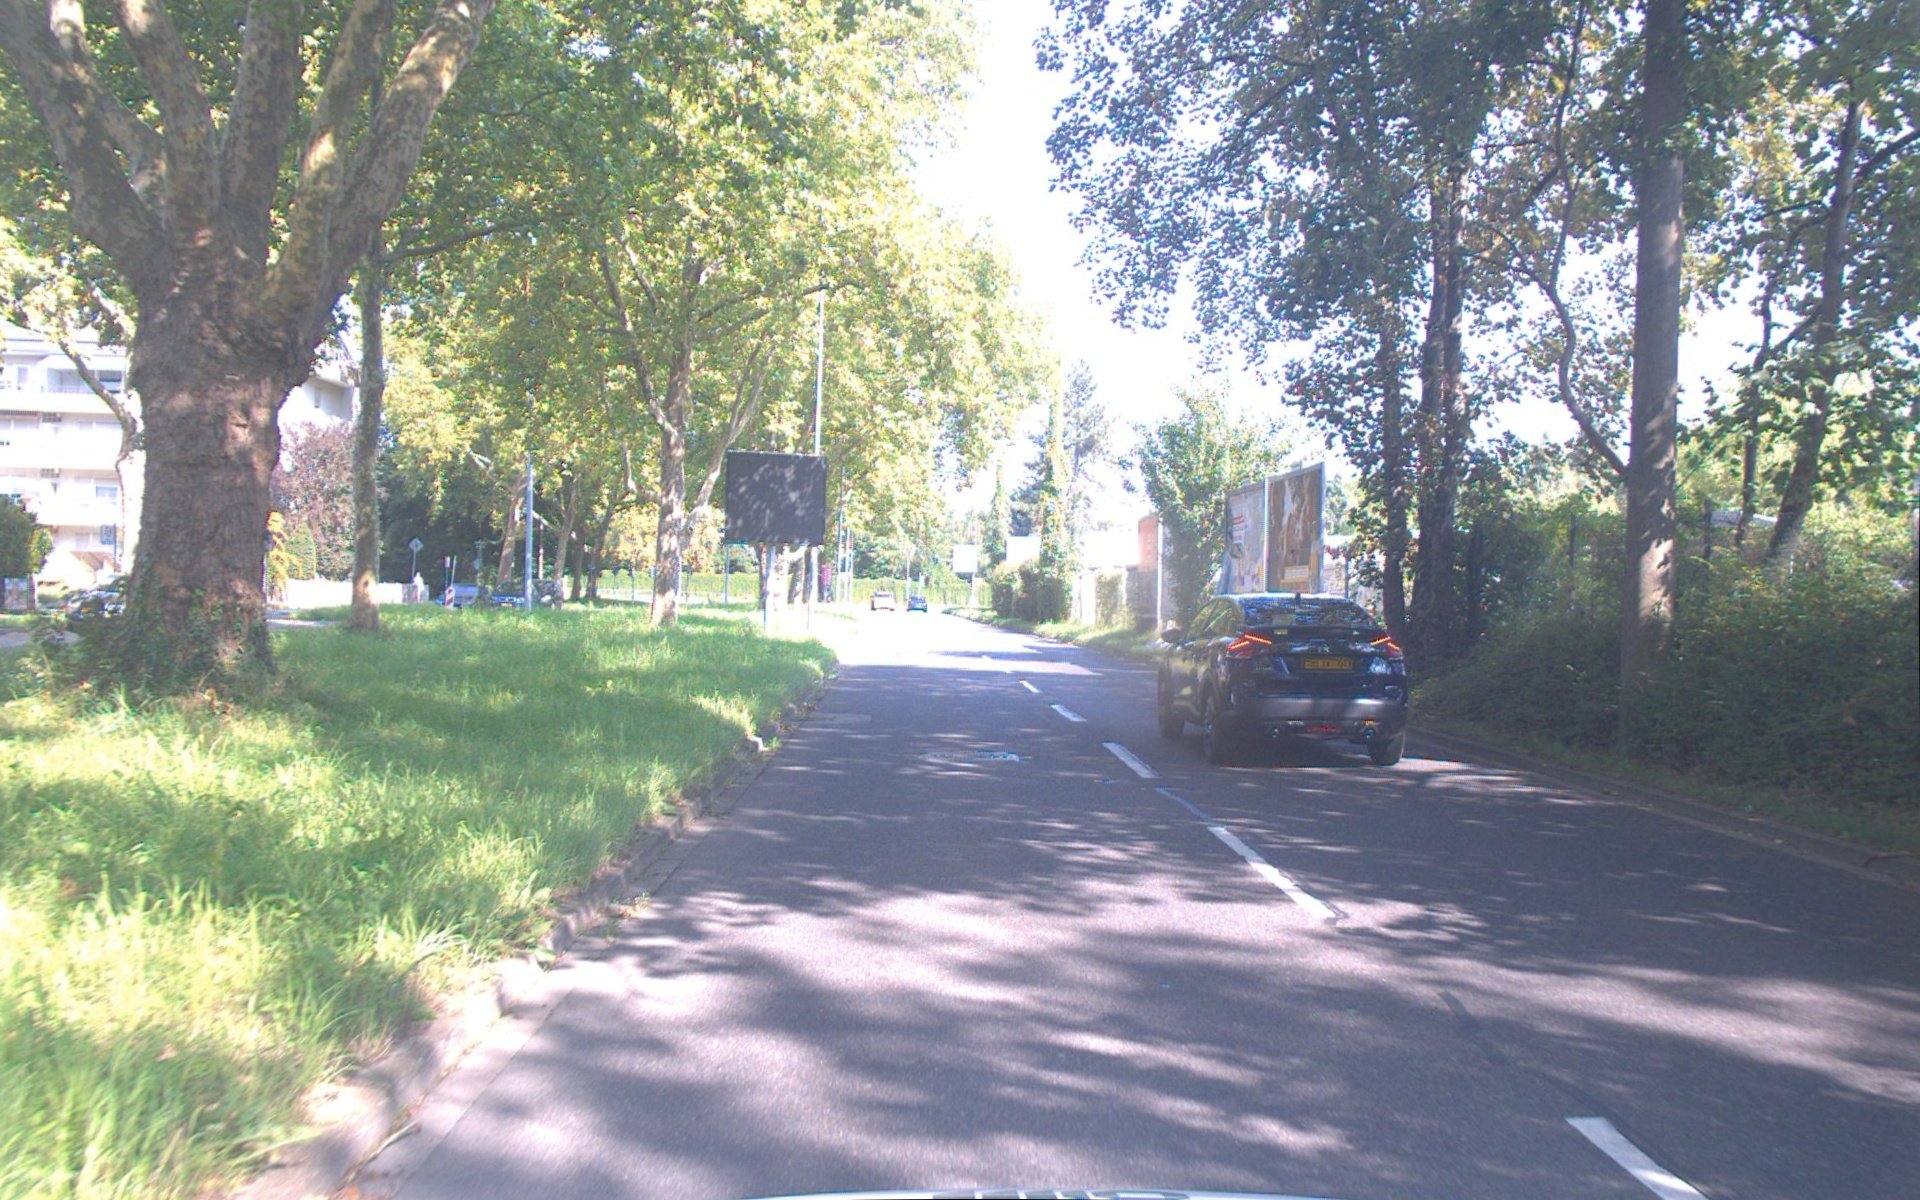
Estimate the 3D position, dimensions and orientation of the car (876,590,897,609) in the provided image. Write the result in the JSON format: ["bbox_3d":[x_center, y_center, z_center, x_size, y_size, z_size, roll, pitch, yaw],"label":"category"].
[{"bbox_3d":[-6.019,-0.044,135.548,1.653,1.487,3.998,2,0,-2],"label":"car"}]

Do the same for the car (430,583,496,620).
[{"bbox_3d":[-21.637,0.061,72.159,1.665,1.534,4.538,1,0,-3],"label":"car"}]

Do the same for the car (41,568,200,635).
[{"bbox_3d":[-20.083,0.020,39.755,1.765,1.455,4.063,2,0,-1],"label":"car"}]

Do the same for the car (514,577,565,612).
[{"bbox_3d":[-22.575,-0.276,89.000,1.665,1.762,4.657,2,0,-3],"label":"car"}]

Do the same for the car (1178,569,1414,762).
[{"bbox_3d":[3.127,0.561,16.132,1.611,1.616,4.256,1,0,3],"label":"car"}]

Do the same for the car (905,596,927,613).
[{"bbox_3d":[-3.844,0.396,144.365,1.762,1.425,3.997,2,0,-4],"label":"car"}]

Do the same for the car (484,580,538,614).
[{"bbox_3d":[-21.899,-0.139,80.856,1.665,1.595,3.998,1,0,-3],"label":"car"}]
